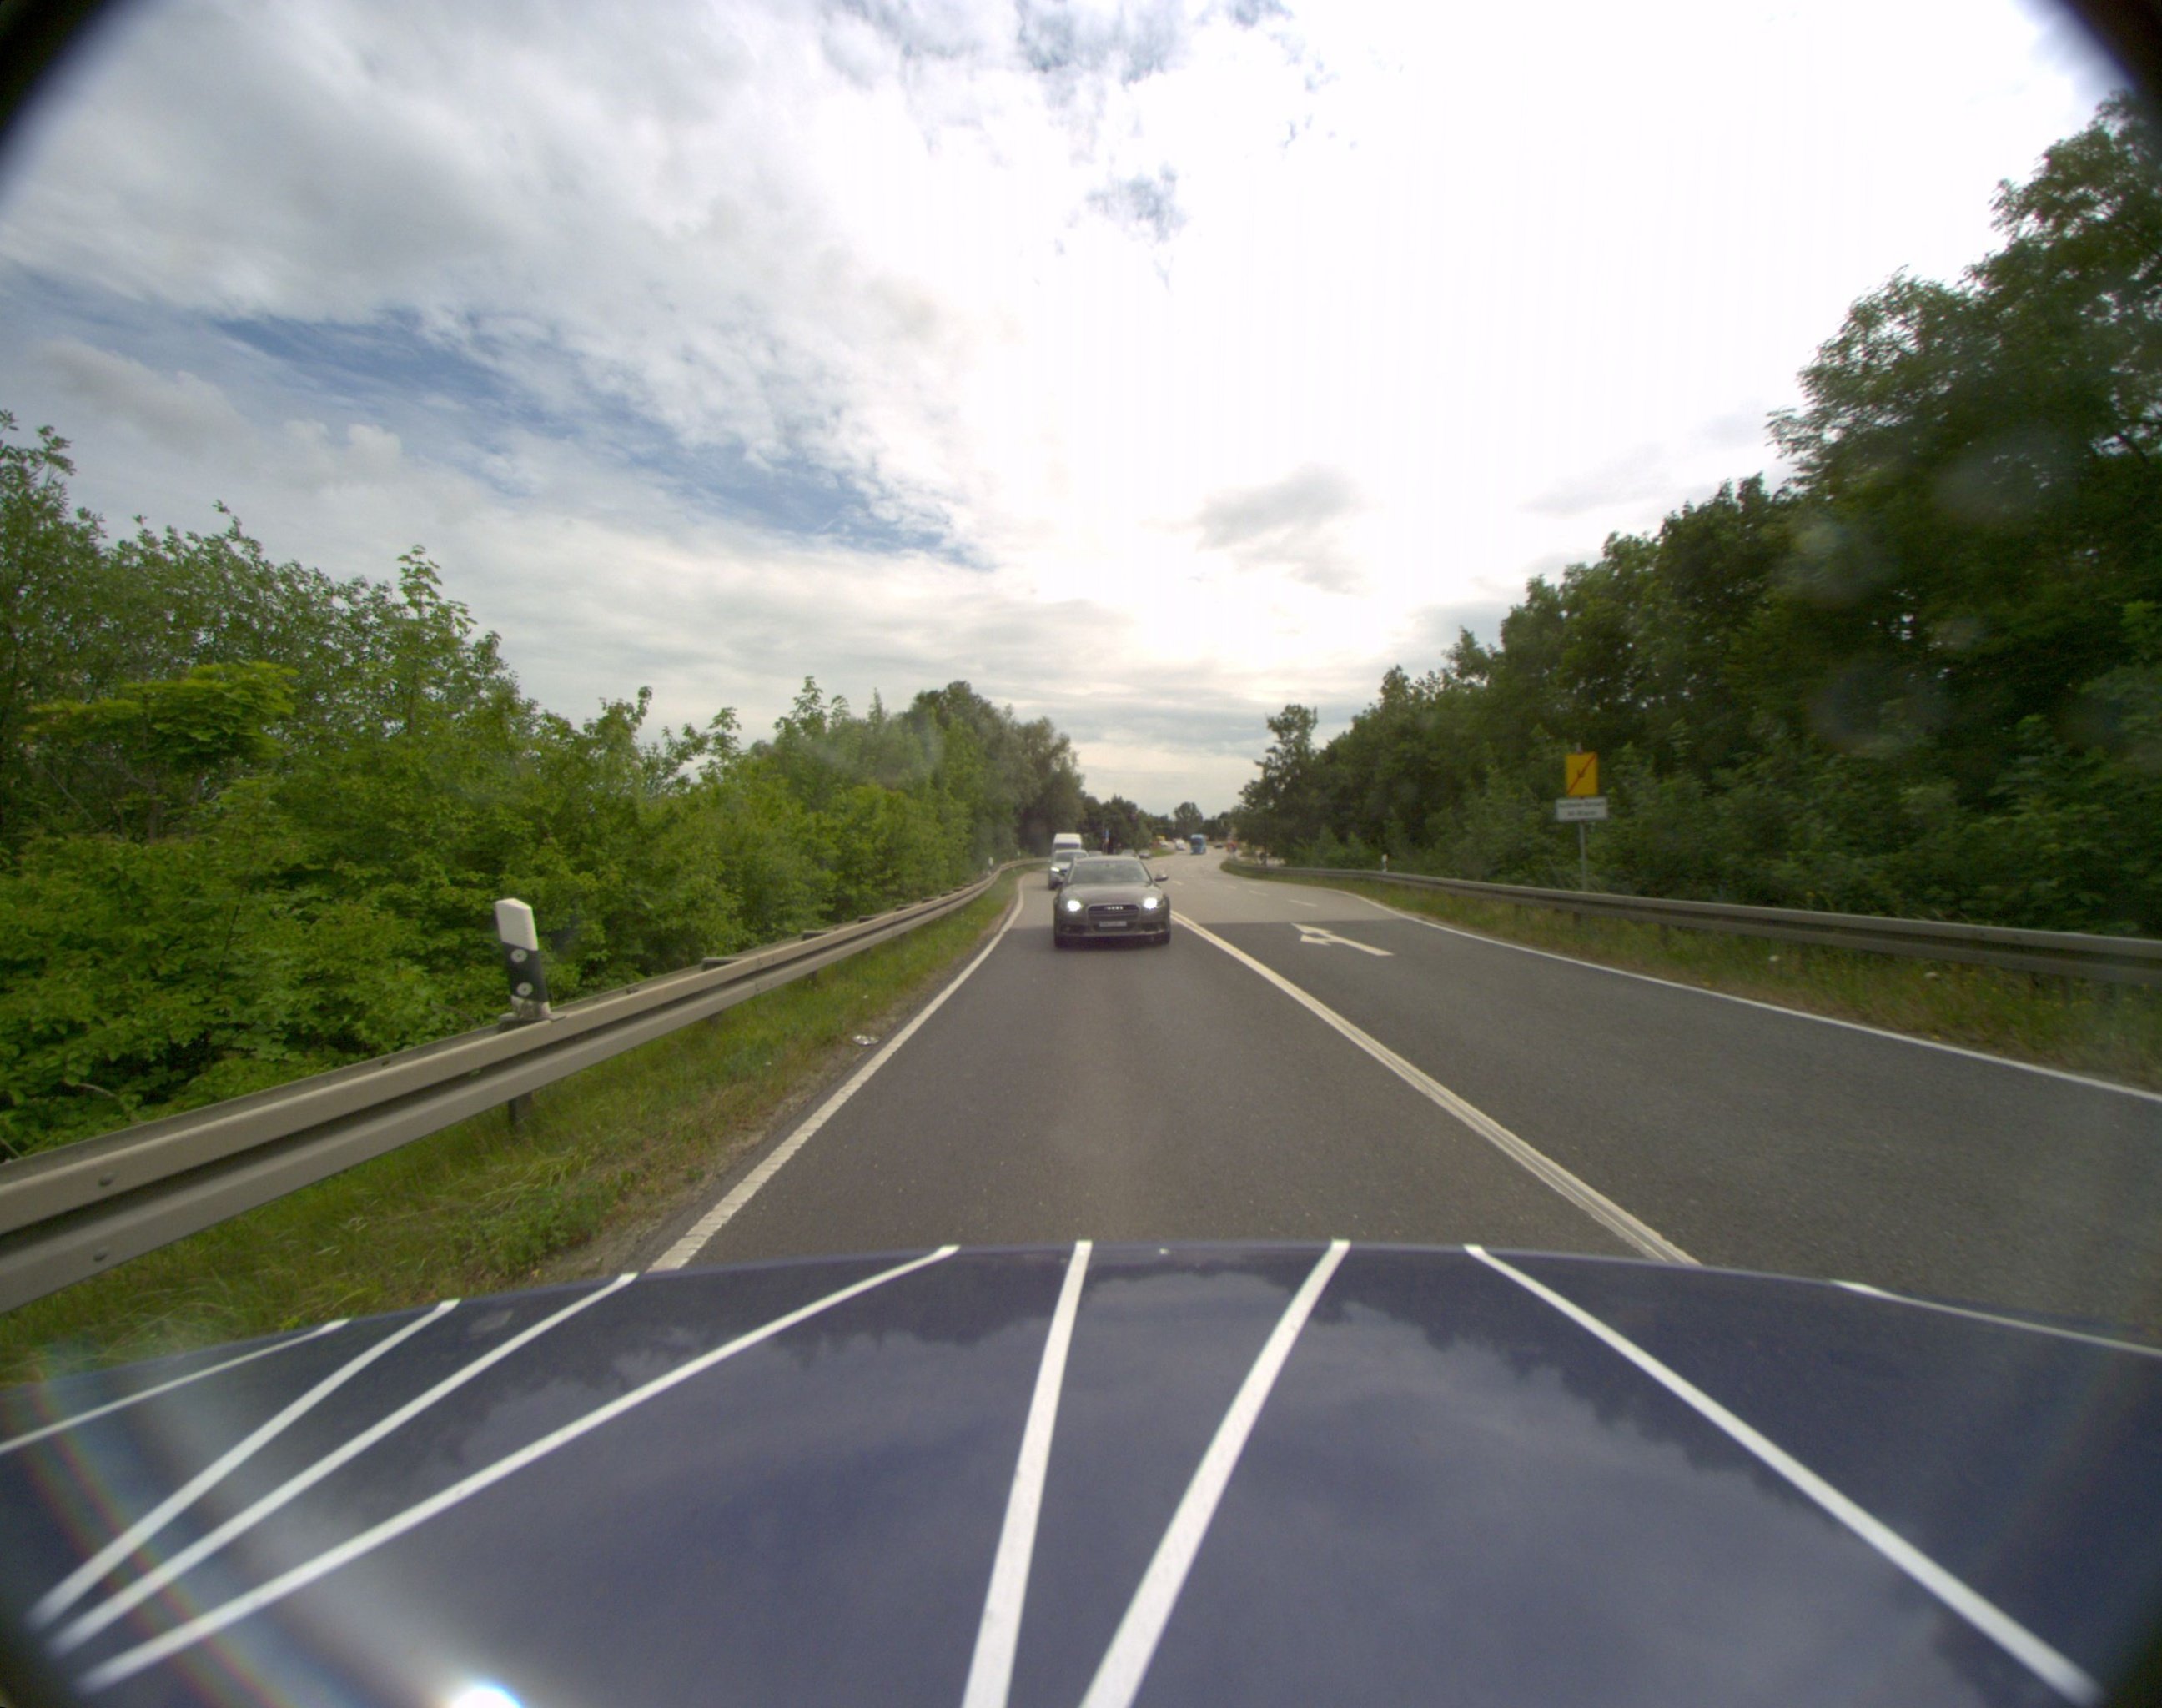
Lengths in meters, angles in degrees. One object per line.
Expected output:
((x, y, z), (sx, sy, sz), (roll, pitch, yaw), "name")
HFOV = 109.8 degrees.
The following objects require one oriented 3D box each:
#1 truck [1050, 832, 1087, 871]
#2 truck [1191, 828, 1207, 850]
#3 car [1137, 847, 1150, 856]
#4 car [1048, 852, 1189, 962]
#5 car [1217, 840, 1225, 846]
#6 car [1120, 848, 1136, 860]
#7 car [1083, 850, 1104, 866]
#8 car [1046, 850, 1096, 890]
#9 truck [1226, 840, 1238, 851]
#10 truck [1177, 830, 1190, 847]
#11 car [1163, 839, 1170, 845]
((-0.802, -0.243, 53.563), (2.379, 2.579, 5.997), (1, 1, 1), "truck")
((24.342, -3.053, 156.561), (3.024, 4.325, 9.576), (1, 1, 9), "truck")
((9.508, -0.418, 115.566), (1.743, 1.317, 4.002), (3, 1, 7), "car")
((0.764, 0.748, 13.156), (1.964, 1.447, 4.798), (-1, 1, 6), "car")
((38.338, -3.054, 207.725), (1.919, 1.562, 4.001), (1, 1, 8), "car")
((6.085, -0.033, 97.871), (1.743, 1.317, 4.001), (3, 1, 5), "car")
((1.170, 0.340, 70.474), (1.744, 1.317, 4.000), (3, 1, 3), "car")
((-0.370, 0.616, 31.991), (1.826, 1.489, 4.224), (2, 1, 2), "car")
((34.872, -2.004, 175.403), (2.320, 2.586, 6.025), (1, 1, 7), "truck")
((27.182, -4.008, 201.738), (3.024, 4.325, 9.576), (1, 1, 9), "truck")
((26.424, -3.794, 235.531), (1.998, 1.707, 4.000), (1, 1, 4), "car")
